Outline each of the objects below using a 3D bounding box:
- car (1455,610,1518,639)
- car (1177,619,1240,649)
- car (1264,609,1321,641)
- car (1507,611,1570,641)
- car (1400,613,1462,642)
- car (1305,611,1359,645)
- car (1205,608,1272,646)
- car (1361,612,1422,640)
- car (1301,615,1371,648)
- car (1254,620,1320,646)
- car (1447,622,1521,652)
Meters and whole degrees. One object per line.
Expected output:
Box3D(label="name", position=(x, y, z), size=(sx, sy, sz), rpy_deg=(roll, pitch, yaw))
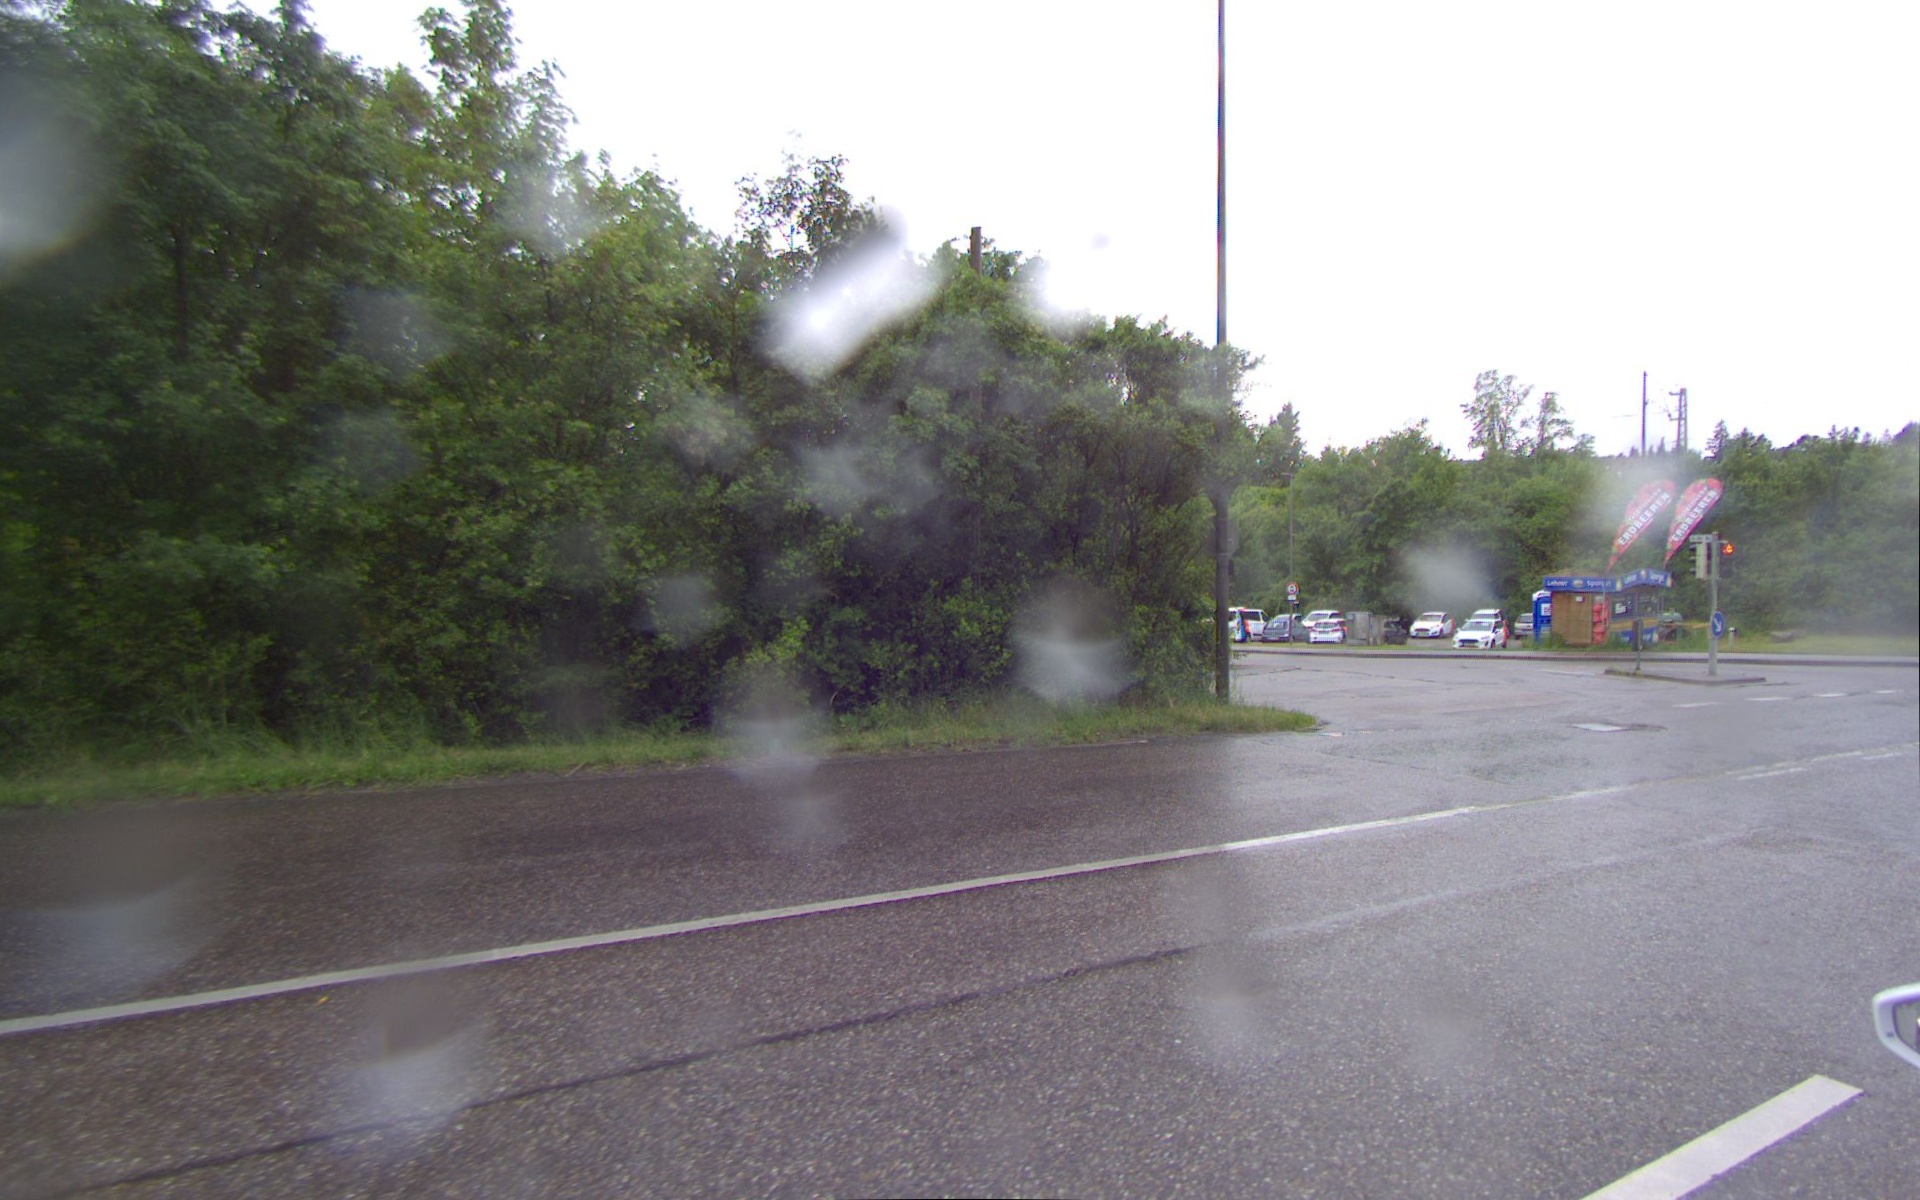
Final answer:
Box3D(label="car", position=(29.742, 1.394, 56.734), size=(3.972, 1.606, 1.975), rpy_deg=(1, -2, -43))
Box3D(label="car", position=(14.284, 1.969, 57.691), size=(1.834, 1.606, 3.978), rpy_deg=(1, -1, 42))
Box3D(label="car", position=(21.937, 1.635, 66.150), size=(3.973, 2.040, 1.974), rpy_deg=(2, -2, -44))
Box3D(label="car", position=(32.036, 1.449, 55.550), size=(3.972, 1.606, 1.975), rpy_deg=(1, -2, -43))
Box3D(label="car", position=(27.552, 1.604, 58.713), size=(3.972, 1.606, 1.975), rpy_deg=(3, -1, -43))
Box3D(label="car", position=(23.851, 1.756, 64.315), size=(1.916, 2.040, 3.846), rpy_deg=(1, 0, 43))
Box3D(label="car", position=(15.506, 1.523, 55.754), size=(1.971, 1.975, 3.978), rpy_deg=(1, -1, 42))
Box3D(label="car", position=(26.086, 1.588, 60.724), size=(3.972, 1.606, 1.975), rpy_deg=(3, -1, -43))
Box3D(label="car", position=(19.741, 1.681, 52.647), size=(3.880, 1.606, 1.918), rpy_deg=(3, -1, -43))
Box3D(label="car", position=(17.768, 1.786, 54.505), size=(3.972, 1.327, 1.734), rpy_deg=(3, -1, -43))
Box3D(label="car", position=(25.117, 1.781, 48.088), size=(4.868, 1.358, 1.636), rpy_deg=(3, -1, -43))
